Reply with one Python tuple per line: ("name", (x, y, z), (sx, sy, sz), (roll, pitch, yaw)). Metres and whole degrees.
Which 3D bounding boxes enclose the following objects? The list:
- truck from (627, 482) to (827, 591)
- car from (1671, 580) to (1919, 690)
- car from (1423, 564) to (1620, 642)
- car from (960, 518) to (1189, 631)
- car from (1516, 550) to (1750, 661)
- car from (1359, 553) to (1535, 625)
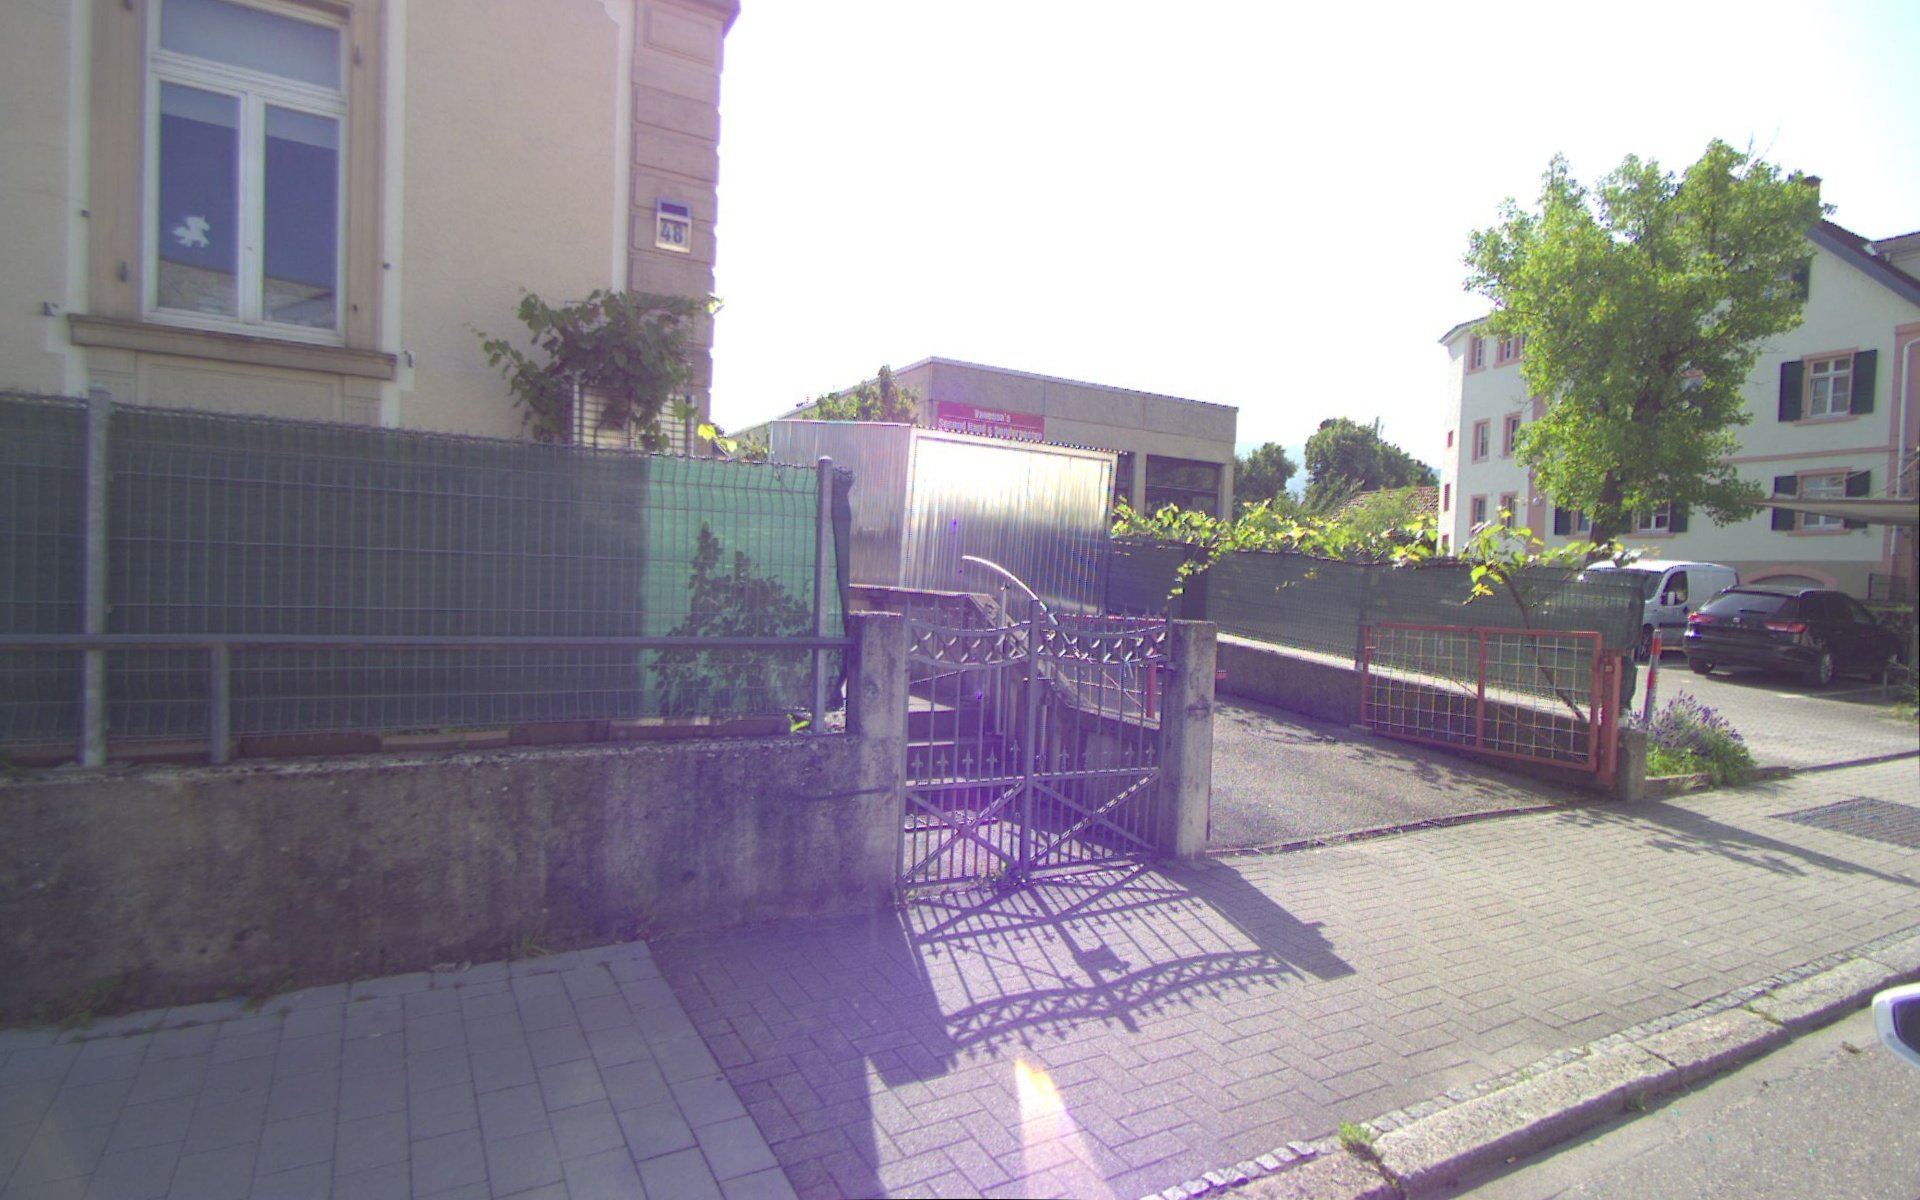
("truck", (-4.291, -1.212, 18.715), (3.072, 1.670, 1.793), (6, 5, 14))
("car", (13.386, 0.497, 16.024), (4.342, 1.482, 1.607), (0, 4, -30))
("car", (11.921, 0.043, 21.300), (3.953, 1.442, 1.805), (0, 5, -30))
("car", (1.736, -0.480, 16.455), (1.686, 1.435, 3.810), (1, 6, -31))
("car", (12.817, 0.087, 19.058), (4.629, 1.796, 1.813), (1, 5, -32))
("car", (11.721, -0.266, 24.147), (3.952, 1.526, 1.799), (0, 5, -30))
